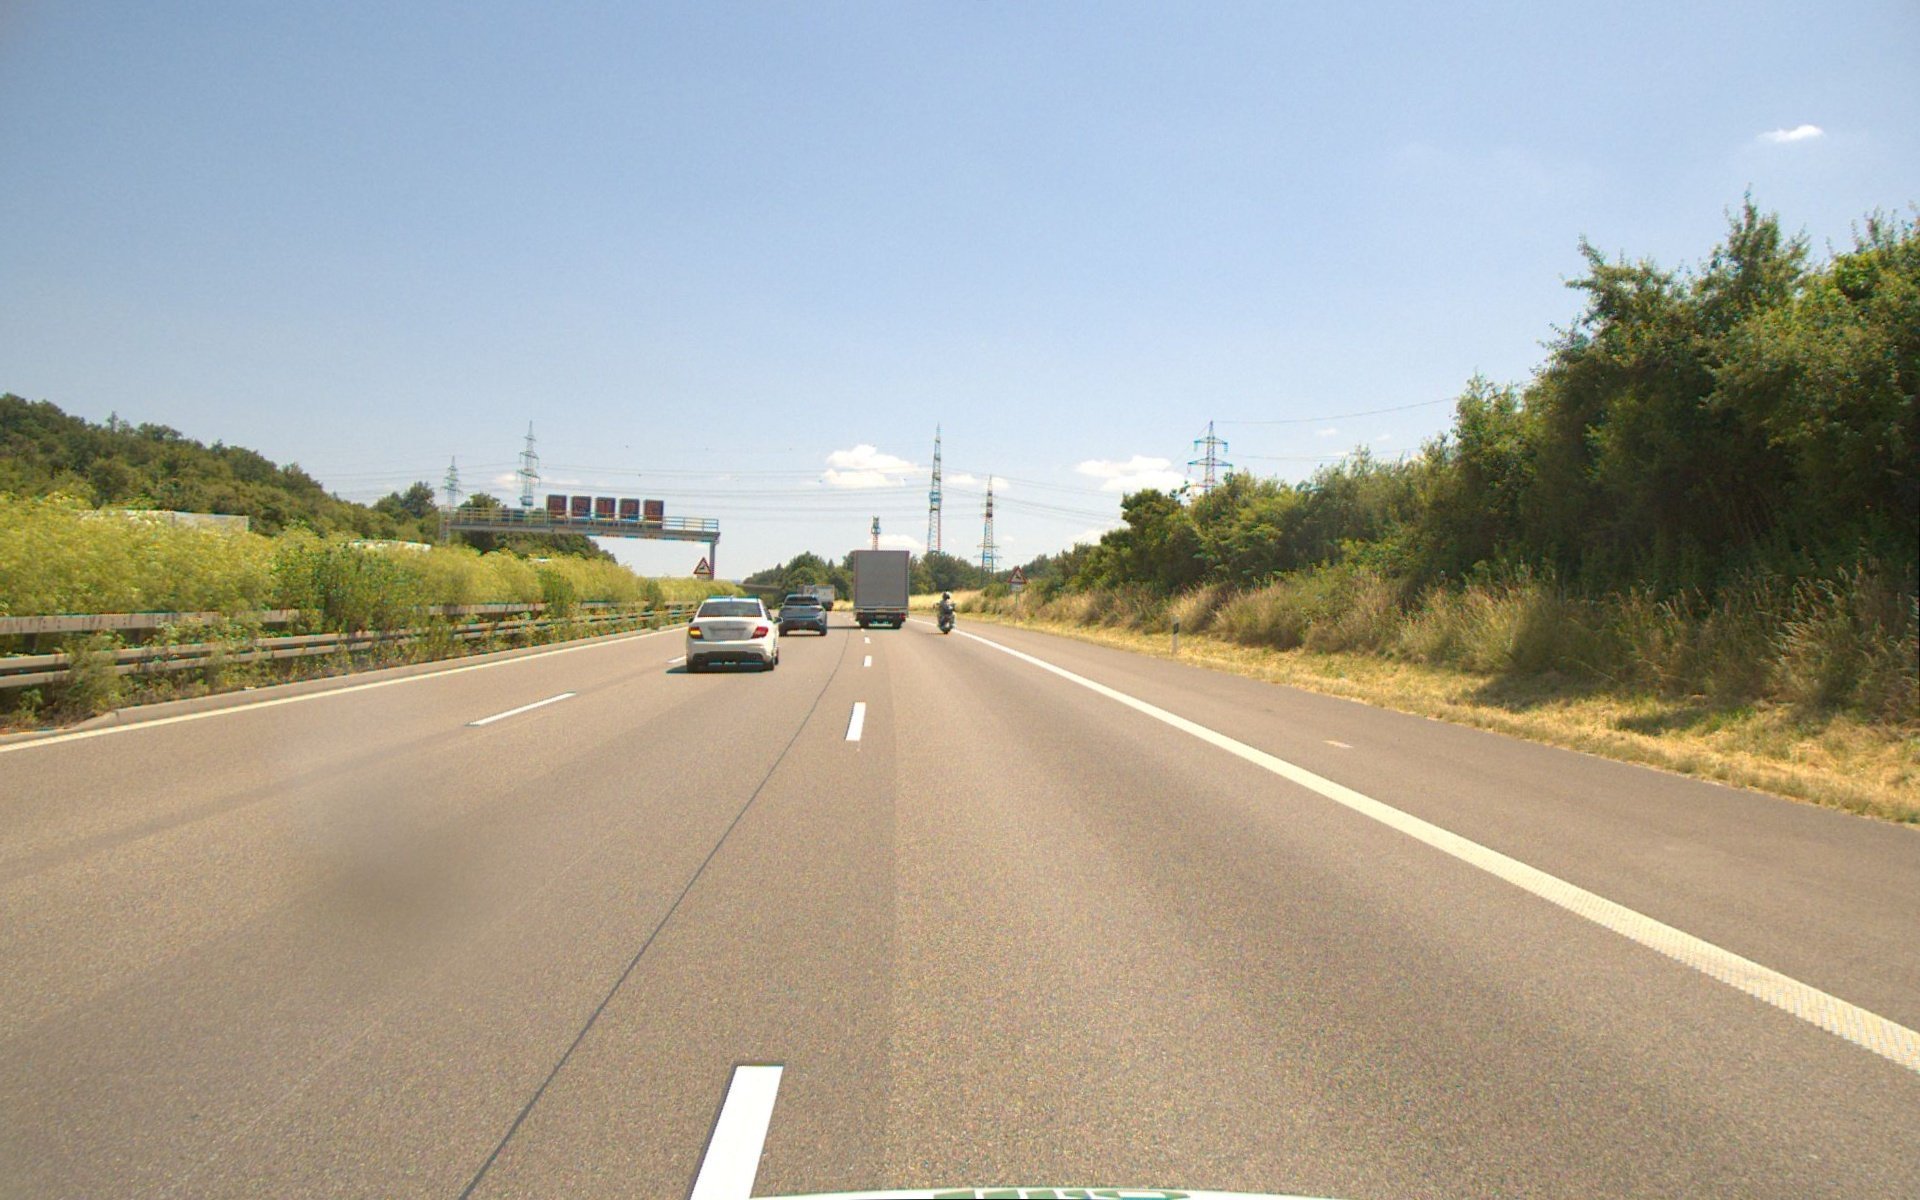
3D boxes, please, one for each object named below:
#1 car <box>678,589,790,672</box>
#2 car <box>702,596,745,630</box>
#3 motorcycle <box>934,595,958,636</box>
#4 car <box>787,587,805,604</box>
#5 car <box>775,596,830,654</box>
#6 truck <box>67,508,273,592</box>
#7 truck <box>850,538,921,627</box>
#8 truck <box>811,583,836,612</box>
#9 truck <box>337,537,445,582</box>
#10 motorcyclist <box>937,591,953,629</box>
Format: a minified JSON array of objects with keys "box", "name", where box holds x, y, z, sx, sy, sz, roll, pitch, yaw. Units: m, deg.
[{"box":[-4.540,0.570,33.666,1.782,1.567,3.914,0,1,-1],"name":"car"},{"box":[-10.450,0.549,73.320,1.722,1.454,3.995,0,1,-6],"name":"car"},{"box":[-0.557,0.609,65.910,0.794,1.635,1.780,0,0,-5],"name":"motorcycle"},{"box":[-19.302,-0.566,194.700,1.863,1.959,3.998,0,1,-2],"name":"car"},{"box":[-5.828,0.884,61.601,1.954,2.049,3.997,0,1,-4],"name":"car"},{"box":[-20.715,-1.248,43.829,2.442,2.049,6.793,0,1,-3],"name":"truck"},{"box":[-3.665,-0.794,79.240,3.158,3.993,9.052,0,0,-4],"name":"truck"},{"box":[-18.942,-0.373,229.829,3.416,3.981,7.282,0,0,-5],"name":"truck"},{"box":[-27.428,-1.900,80.172,2.601,2.049,9.847,0,1,-5],"name":"truck"},{"box":[-0.599,0.381,65.934,0.561,1.505,0.700,0,0,-6],"name":"motorcyclist"}]
